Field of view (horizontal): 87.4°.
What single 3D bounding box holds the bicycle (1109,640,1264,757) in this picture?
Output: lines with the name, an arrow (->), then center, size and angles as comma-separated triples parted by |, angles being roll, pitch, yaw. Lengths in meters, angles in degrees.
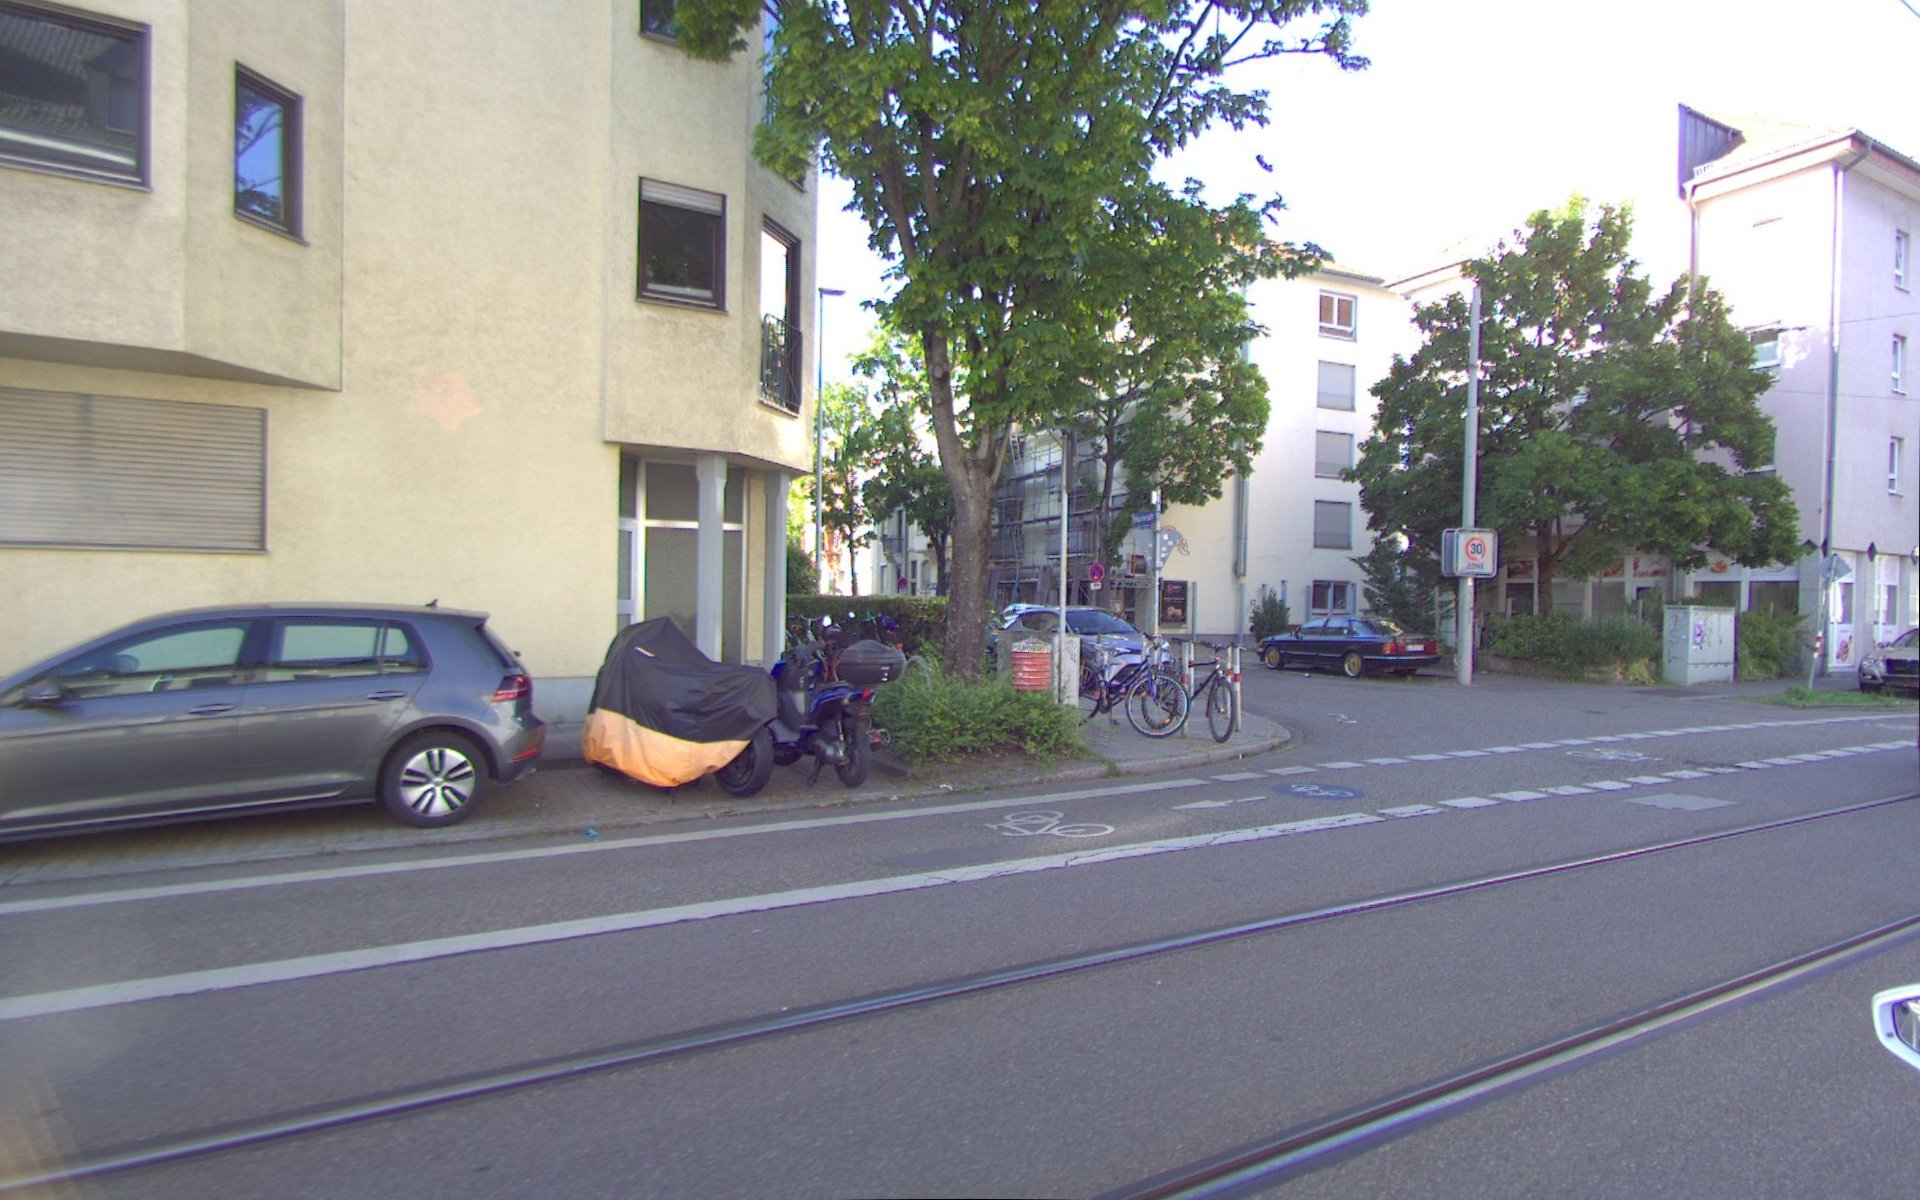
bicycle -> 2.428, 1.020, 11.003 | 0.588, 1.099, 1.870 | 1, 0, -27

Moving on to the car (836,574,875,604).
car -> -6.575, -0.663, 62.890 | 1.539, 1.749, 3.364 | 4, -1, -21

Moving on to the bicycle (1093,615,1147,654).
bicycle -> 5.444, 1.154, 34.128 | 1.970, 1.181, 0.718 | -2, 2, -41

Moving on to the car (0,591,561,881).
car -> -4.951, 0.745, 6.590 | 4.084, 1.563, 1.725 | 1, 0, -33

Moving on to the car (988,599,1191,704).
car -> 2.272, 0.856, 18.694 | 1.884, 1.682, 3.973 | -1, 0, -26

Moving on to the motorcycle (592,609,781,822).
motorcycle -> -2.246, 0.822, 8.062 | 0.828, 1.466, 1.955 | 1, 0, -36

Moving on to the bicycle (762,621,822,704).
bicycle -> -2.408, 0.860, 14.313 | 0.328, 1.060, 1.381 | 1, 1, -31

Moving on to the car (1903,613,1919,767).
car -> 10.018, 0.924, 8.513 | 1.530, 1.553, 3.487 | 3, 0, 17

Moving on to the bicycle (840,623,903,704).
bicycle -> -1.314, 0.907, 14.753 | 0.328, 1.060, 1.381 | 1, 1, -31

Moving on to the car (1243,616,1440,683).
car -> 8.991, 1.118, 24.091 | 1.691, 1.406, 4.542 | 2, -1, -25

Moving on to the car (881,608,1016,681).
car -> -0.373, 0.979, 23.900 | 1.733, 1.517, 4.111 | -1, 0, -24

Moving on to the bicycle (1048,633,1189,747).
bicycle -> 1.696, 0.939, 11.065 | 0.588, 1.099, 1.799 | 1, 0, -27

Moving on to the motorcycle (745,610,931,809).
motorcycle -> -1.092, 0.837, 8.542 | 0.714, 1.466, 1.955 | 1, 0, -36

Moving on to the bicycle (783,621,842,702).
bicycle -> -2.169, 0.875, 14.654 | 0.328, 1.060, 1.381 | 1, 1, -31

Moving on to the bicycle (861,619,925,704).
bicycle -> -1.013, 0.888, 14.940 | 0.328, 1.159, 1.381 | 1, 1, -31
